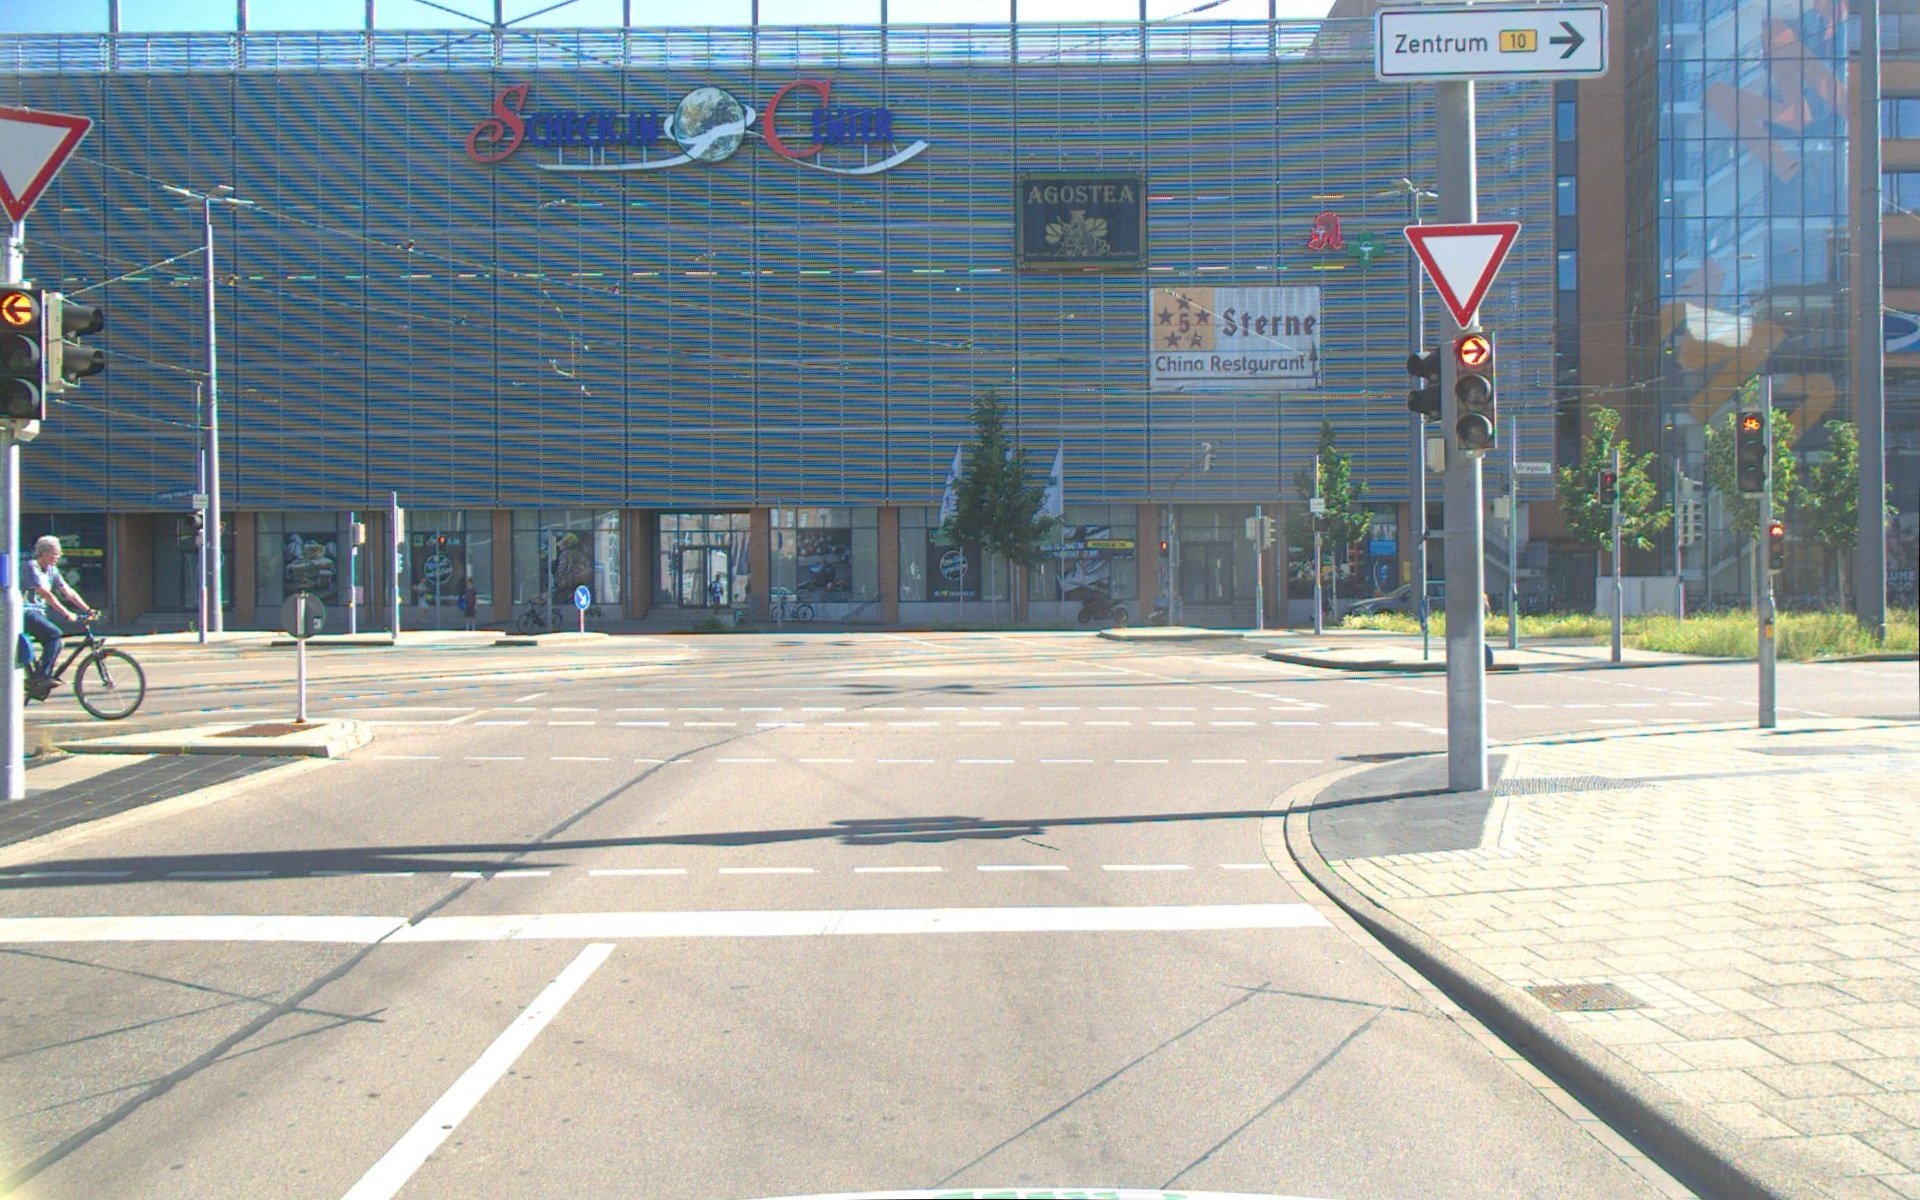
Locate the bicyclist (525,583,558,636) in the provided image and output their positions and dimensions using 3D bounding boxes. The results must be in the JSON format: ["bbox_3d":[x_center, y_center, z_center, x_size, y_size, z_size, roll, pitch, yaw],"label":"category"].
[{"bbox_3d":[-14.778,0.332,58.386,0.838,1.834,0.803,-1,0,-42],"label":"bicyclist"}]

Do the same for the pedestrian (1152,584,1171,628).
[{"bbox_3d":[7.215,0.198,59.197,0.577,1.561,0.658,0,0,-1],"label":"pedestrian"}]

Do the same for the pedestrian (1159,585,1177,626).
[{"bbox_3d":[7.558,0.203,60.108,0.577,1.488,0.658,0,0,-1],"label":"pedestrian"}]

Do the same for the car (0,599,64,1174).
[{"bbox_3d":[-3.175,0.704,2.473,1.599,1.448,3.781,2,0,-1],"label":"car"}]

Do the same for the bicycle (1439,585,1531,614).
[{"bbox_3d":[20.704,-0.039,65.286,3.289,1.096,1.117,0,1,5],"label":"bicycle"}]

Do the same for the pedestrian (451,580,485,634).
[{"bbox_3d":[-17.431,0.255,58.606,0.890,1.901,0.816,0,0,42],"label":"pedestrian"}]

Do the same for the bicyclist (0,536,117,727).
[{"bbox_3d":[-9.261,0.310,16.859,0.883,1.892,0.854,-1,0,-1],"label":"bicyclist"}]

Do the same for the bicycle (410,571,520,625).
[{"bbox_3d":[-19.475,-0.086,65.111,3.905,2.049,1.330,0,1,-1],"label":"bicycle"}]

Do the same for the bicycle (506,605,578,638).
[{"bbox_3d":[-14.768,0.749,58.468,2.225,1.089,1.030,-1,0,-42],"label":"bicycle"}]

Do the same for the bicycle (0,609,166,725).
[{"bbox_3d":[-9.199,0.669,16.855,1.791,1.135,0.853,-1,0,-1],"label":"bicycle"}]

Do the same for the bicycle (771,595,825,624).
[{"bbox_3d":[-6.295,0.371,64.216,1.985,1.078,1.145,-1,0,-1],"label":"bicycle"}]

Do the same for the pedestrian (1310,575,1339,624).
[{"bbox_3d":[13.373,-0.023,60.747,0.837,1.768,0.752,-1,0,-7],"label":"pedestrian"}]

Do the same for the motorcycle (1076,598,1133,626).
[{"bbox_3d":[5.642,0.463,64.694,2.157,1.061,1.061,0,1,-1],"label":"motorcycle"}]

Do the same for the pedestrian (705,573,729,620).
[{"bbox_3d":[-9.446,-0.147,64.363,0.831,1.794,0.620,-1,0,-2],"label":"pedestrian"}]

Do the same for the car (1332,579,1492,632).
[{"bbox_3d":[13.536,0.145,49.657,4.395,1.521,1.494,-1,0,-1],"label":"car"}]

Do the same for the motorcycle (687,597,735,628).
[{"bbox_3d":[-8.930,0.446,59.400,1.616,1.078,0.498,-1,0,9],"label":"motorcycle"}]
